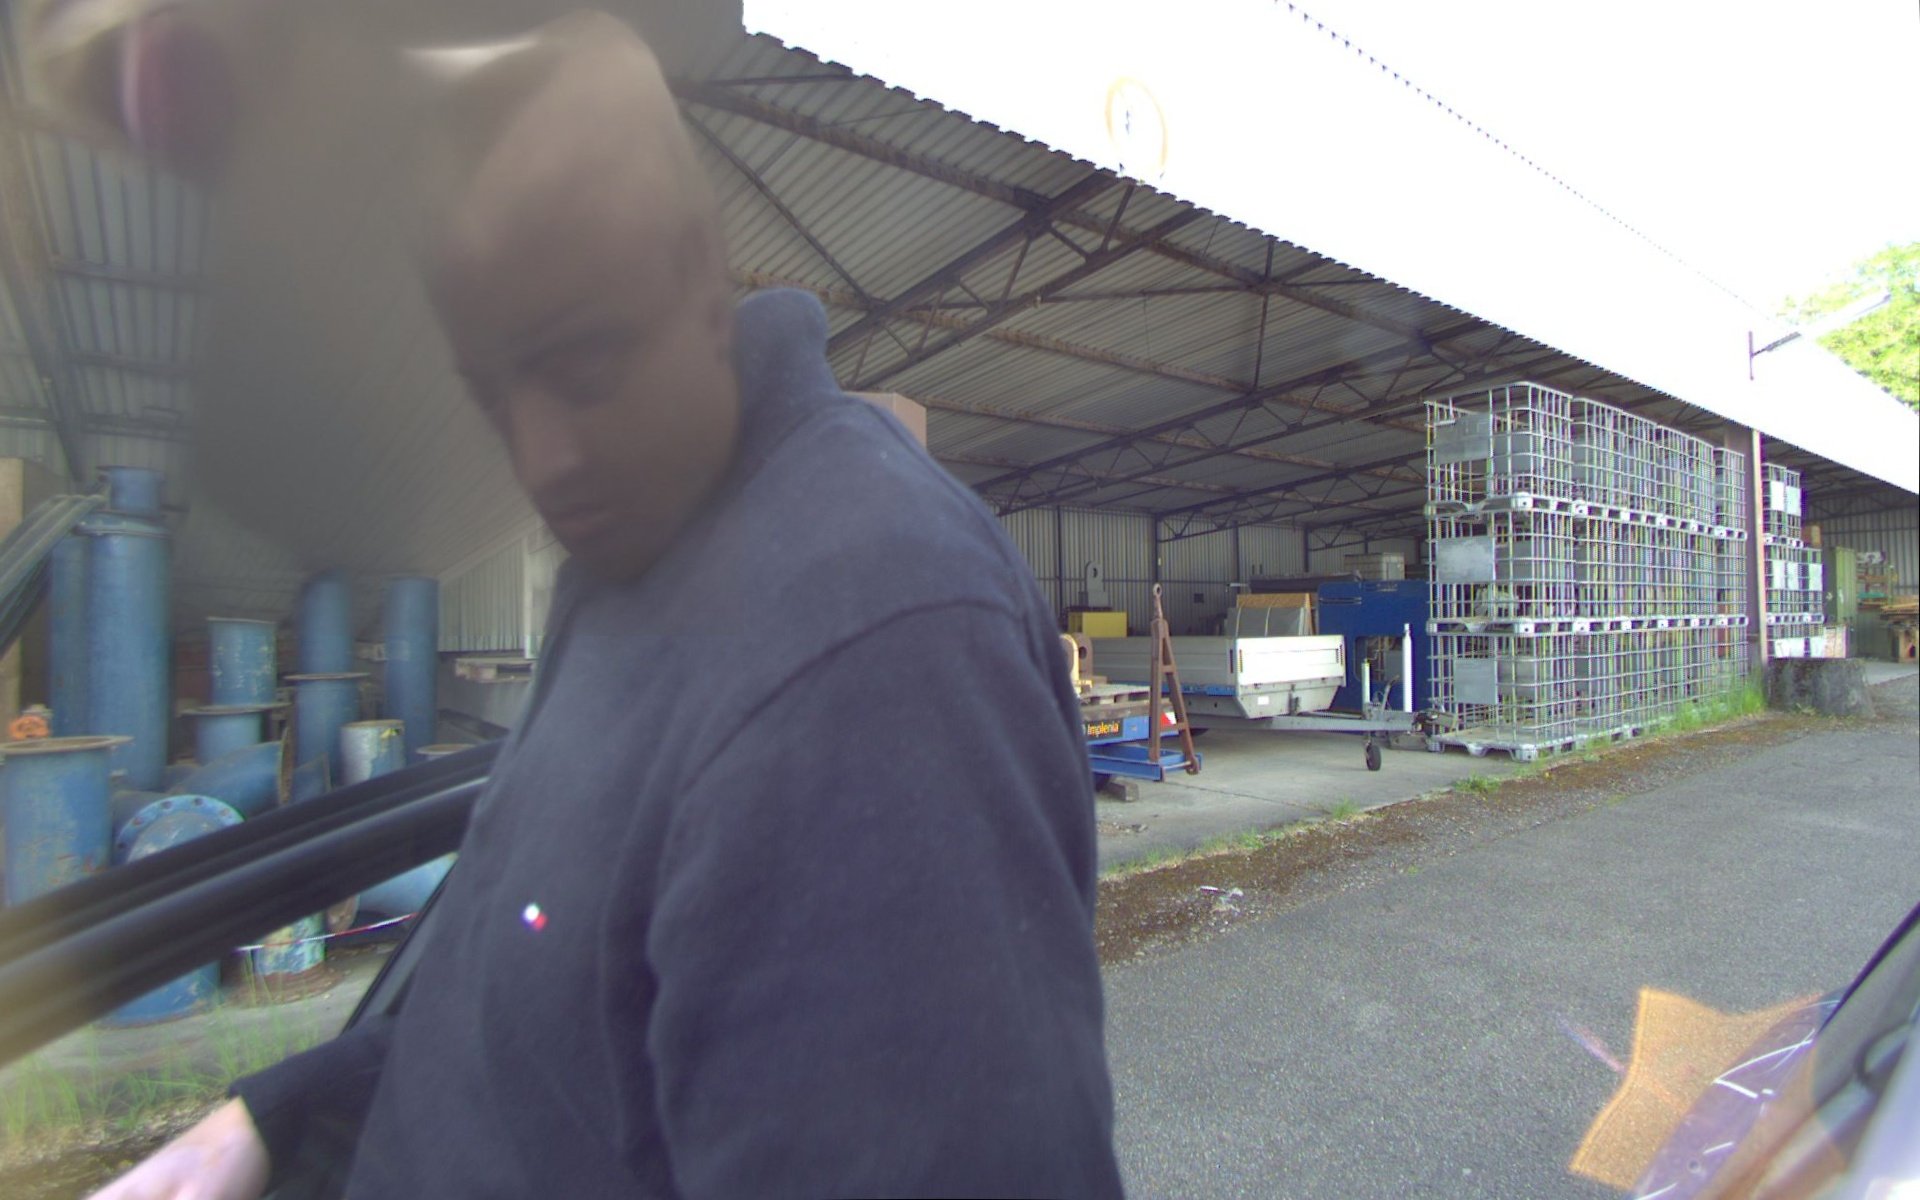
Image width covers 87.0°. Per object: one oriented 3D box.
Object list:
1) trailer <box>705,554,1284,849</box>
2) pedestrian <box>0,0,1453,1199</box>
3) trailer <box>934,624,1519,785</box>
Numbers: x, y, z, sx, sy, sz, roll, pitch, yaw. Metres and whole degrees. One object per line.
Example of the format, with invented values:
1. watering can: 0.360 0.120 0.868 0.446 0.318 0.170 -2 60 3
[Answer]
1. trailer: -0.083 0.589 8.209 1.993 1.649 4.876 0 -1 -39
2. pedestrian: -0.139 0.565 0.529 0.560 1.809 0.551 0 -1 -41
3. trailer: 2.293 0.856 10.501 1.993 1.134 5.834 0 -1 -39
